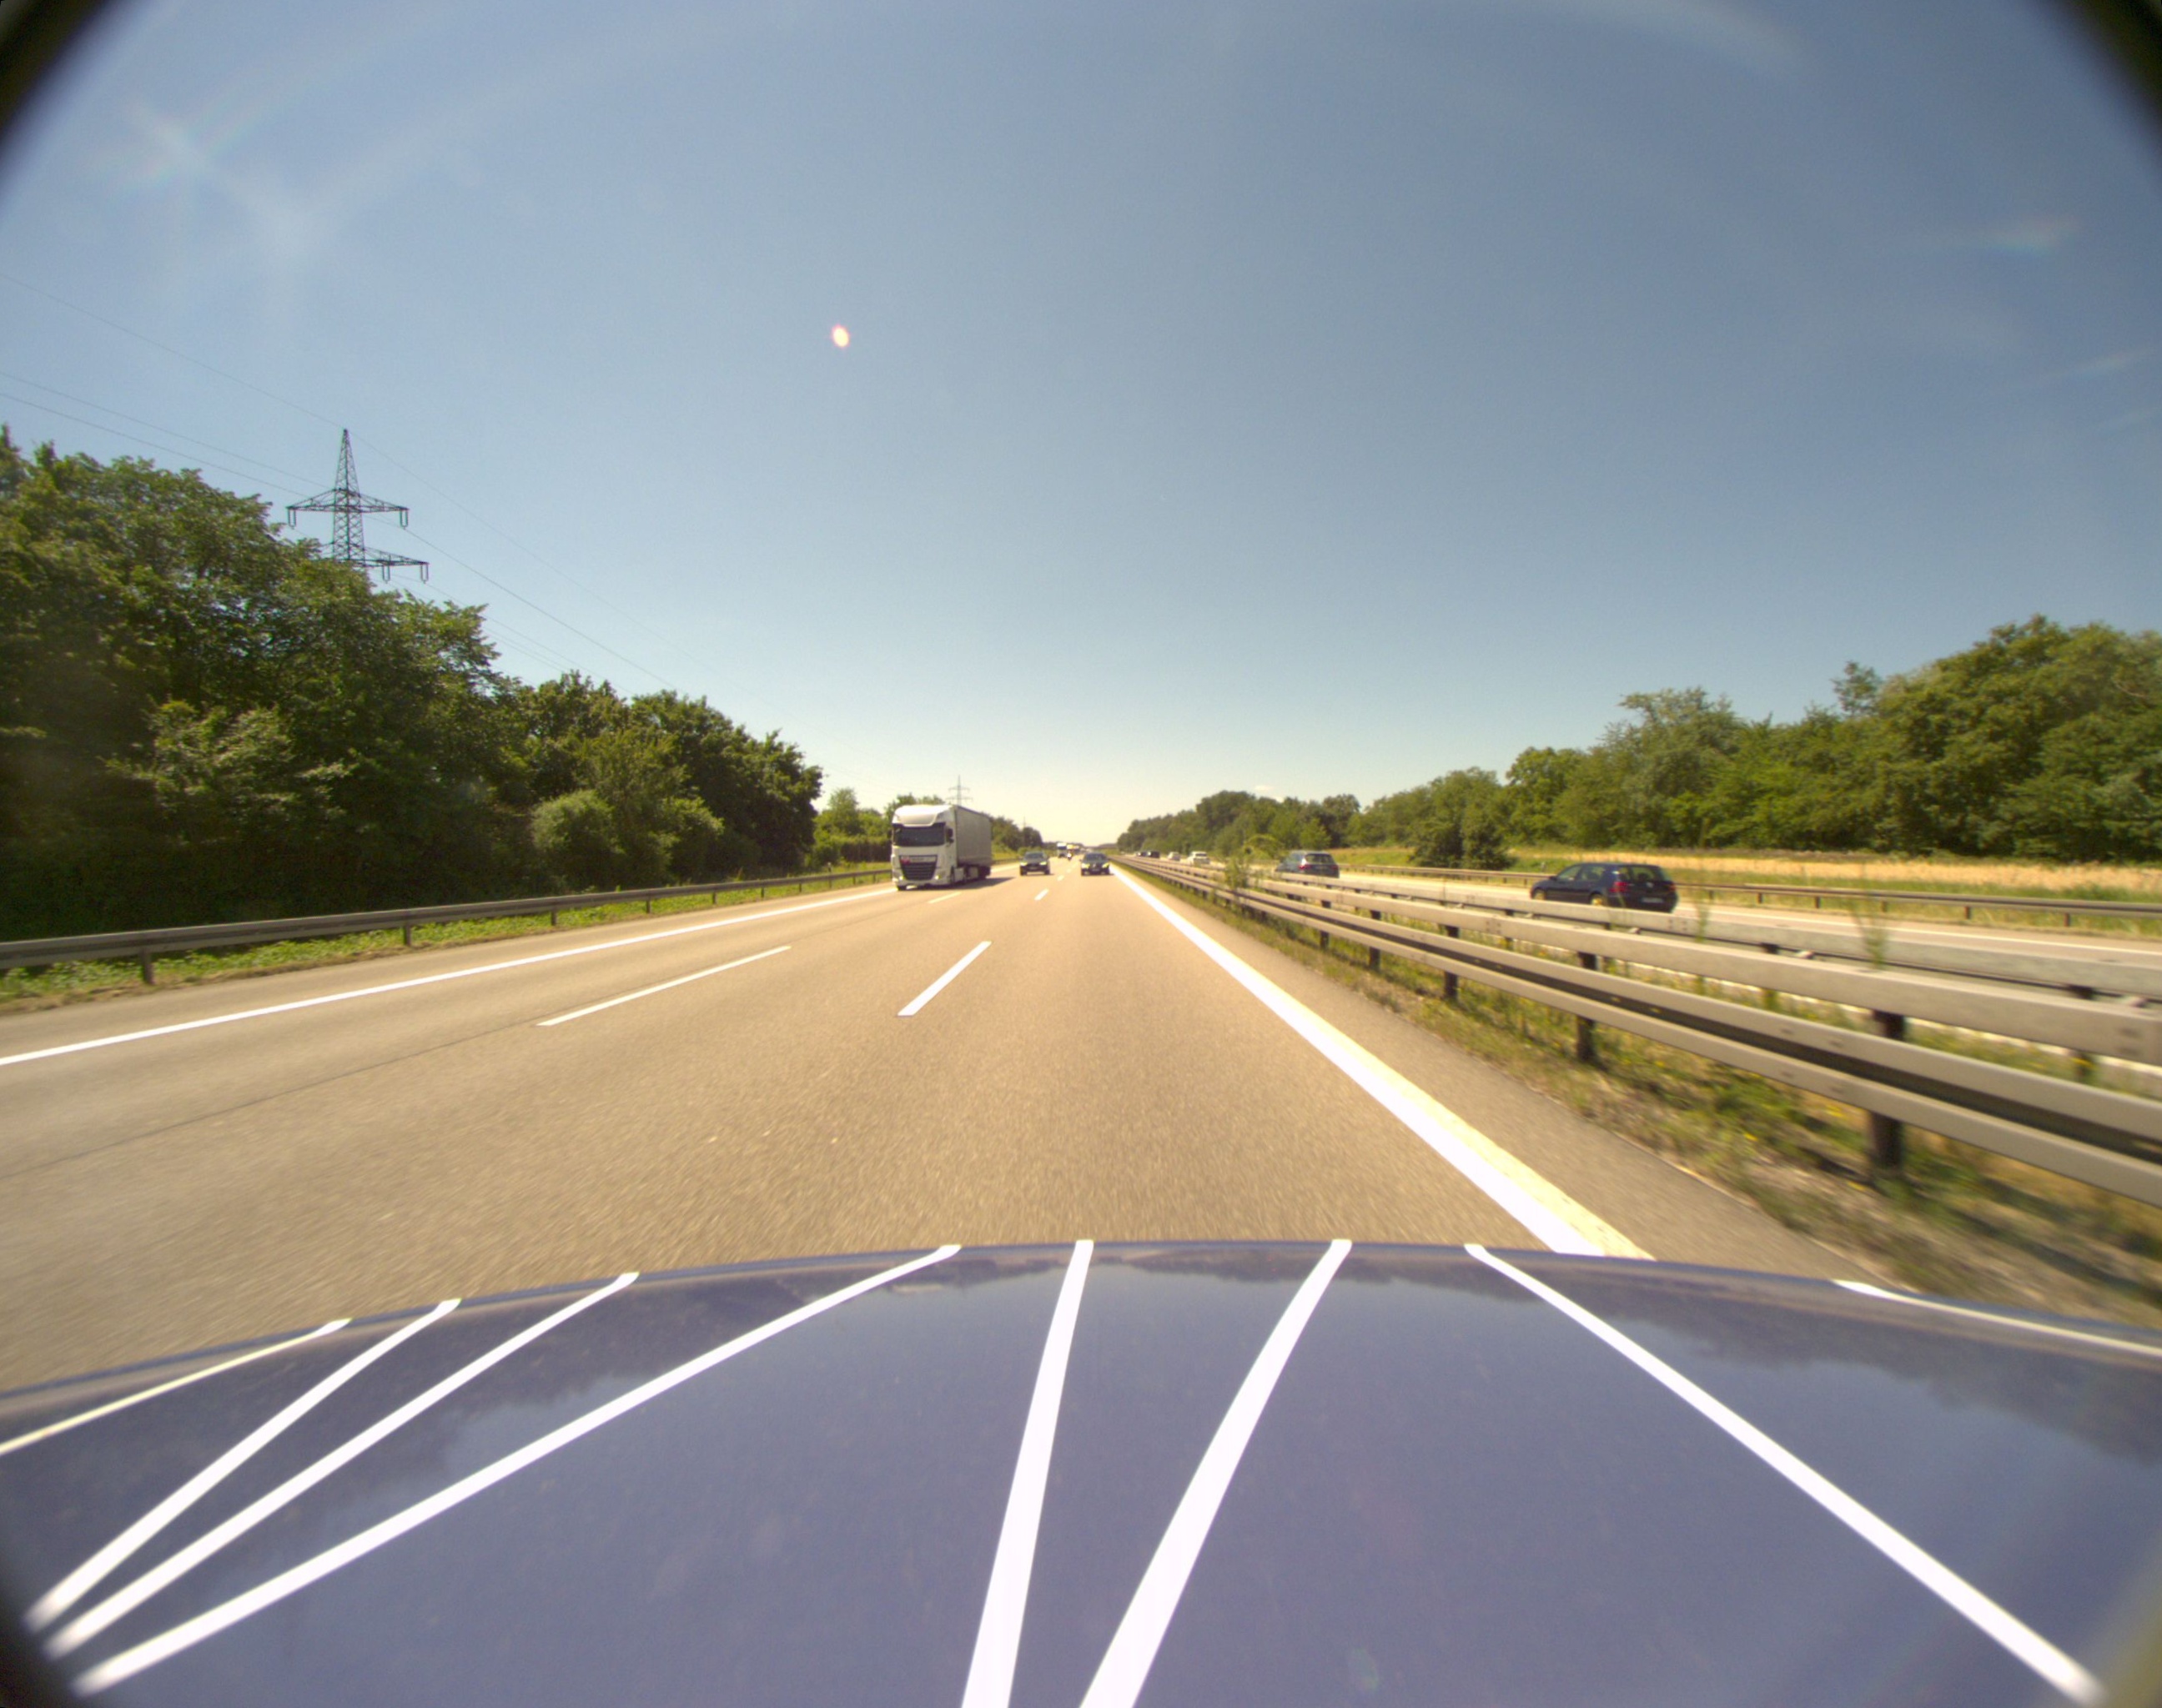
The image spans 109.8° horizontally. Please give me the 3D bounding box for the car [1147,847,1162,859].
[{"bbox_3d":[11.067,-0.190,114.700,1.964,1.761,4.442,0,1,1],"label":"car"}]

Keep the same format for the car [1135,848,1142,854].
[{"bbox_3d":[16.326,-0.846,215.088,1.840,1.576,3.889,1,1,1],"label":"car"}]

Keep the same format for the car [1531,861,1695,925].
[{"bbox_3d":[13.778,0.944,19.958,1.737,1.443,3.677,1,1,1],"label":"car"}]

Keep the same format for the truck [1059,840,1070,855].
[{"bbox_3d":[-4.315,-1.722,203.165,2.573,3.871,5.722,-2,1,0],"label":"truck"}]

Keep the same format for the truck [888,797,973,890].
[{"bbox_3d":[-7.161,-0.483,37.005,2.743,4.096,6.124,-2,1,1],"label":"truck"}]

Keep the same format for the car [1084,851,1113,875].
[{"bbox_3d":[1.095,0.554,49.265,1.808,1.385,3.999,-2,1,0],"label":"car"}]

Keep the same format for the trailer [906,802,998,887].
[{"bbox_3d":[-7.060,-0.531,43.821,2.743,4.083,13.121,-2,1,1],"label":"trailer"}]

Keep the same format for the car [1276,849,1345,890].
[{"bbox_3d":[9.885,0.613,33.021,1.813,1.638,3.961,1,1,0],"label":"car"}]

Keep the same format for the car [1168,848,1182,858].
[{"bbox_3d":[15.185,-0.144,122.997,1.884,1.557,4.192,1,1,1],"label":"car"}]

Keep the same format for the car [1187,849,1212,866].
[{"bbox_3d":[11.336,0.305,73.035,1.813,1.528,3.961,1,1,0],"label":"car"}]

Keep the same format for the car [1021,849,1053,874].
[{"bbox_3d":[-3.048,0.498,53.315,1.878,1.614,4.004,-1,0,0],"label":"car"}]

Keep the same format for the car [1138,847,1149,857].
[{"bbox_3d":[11.514,-0.412,139.823,1.771,1.740,3.985,1,1,1],"label":"car"}]

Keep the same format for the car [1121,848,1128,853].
[{"bbox_3d":[12.903,-0.990,225.258,1.799,1.483,4.238,1,1,1],"label":"car"}]
